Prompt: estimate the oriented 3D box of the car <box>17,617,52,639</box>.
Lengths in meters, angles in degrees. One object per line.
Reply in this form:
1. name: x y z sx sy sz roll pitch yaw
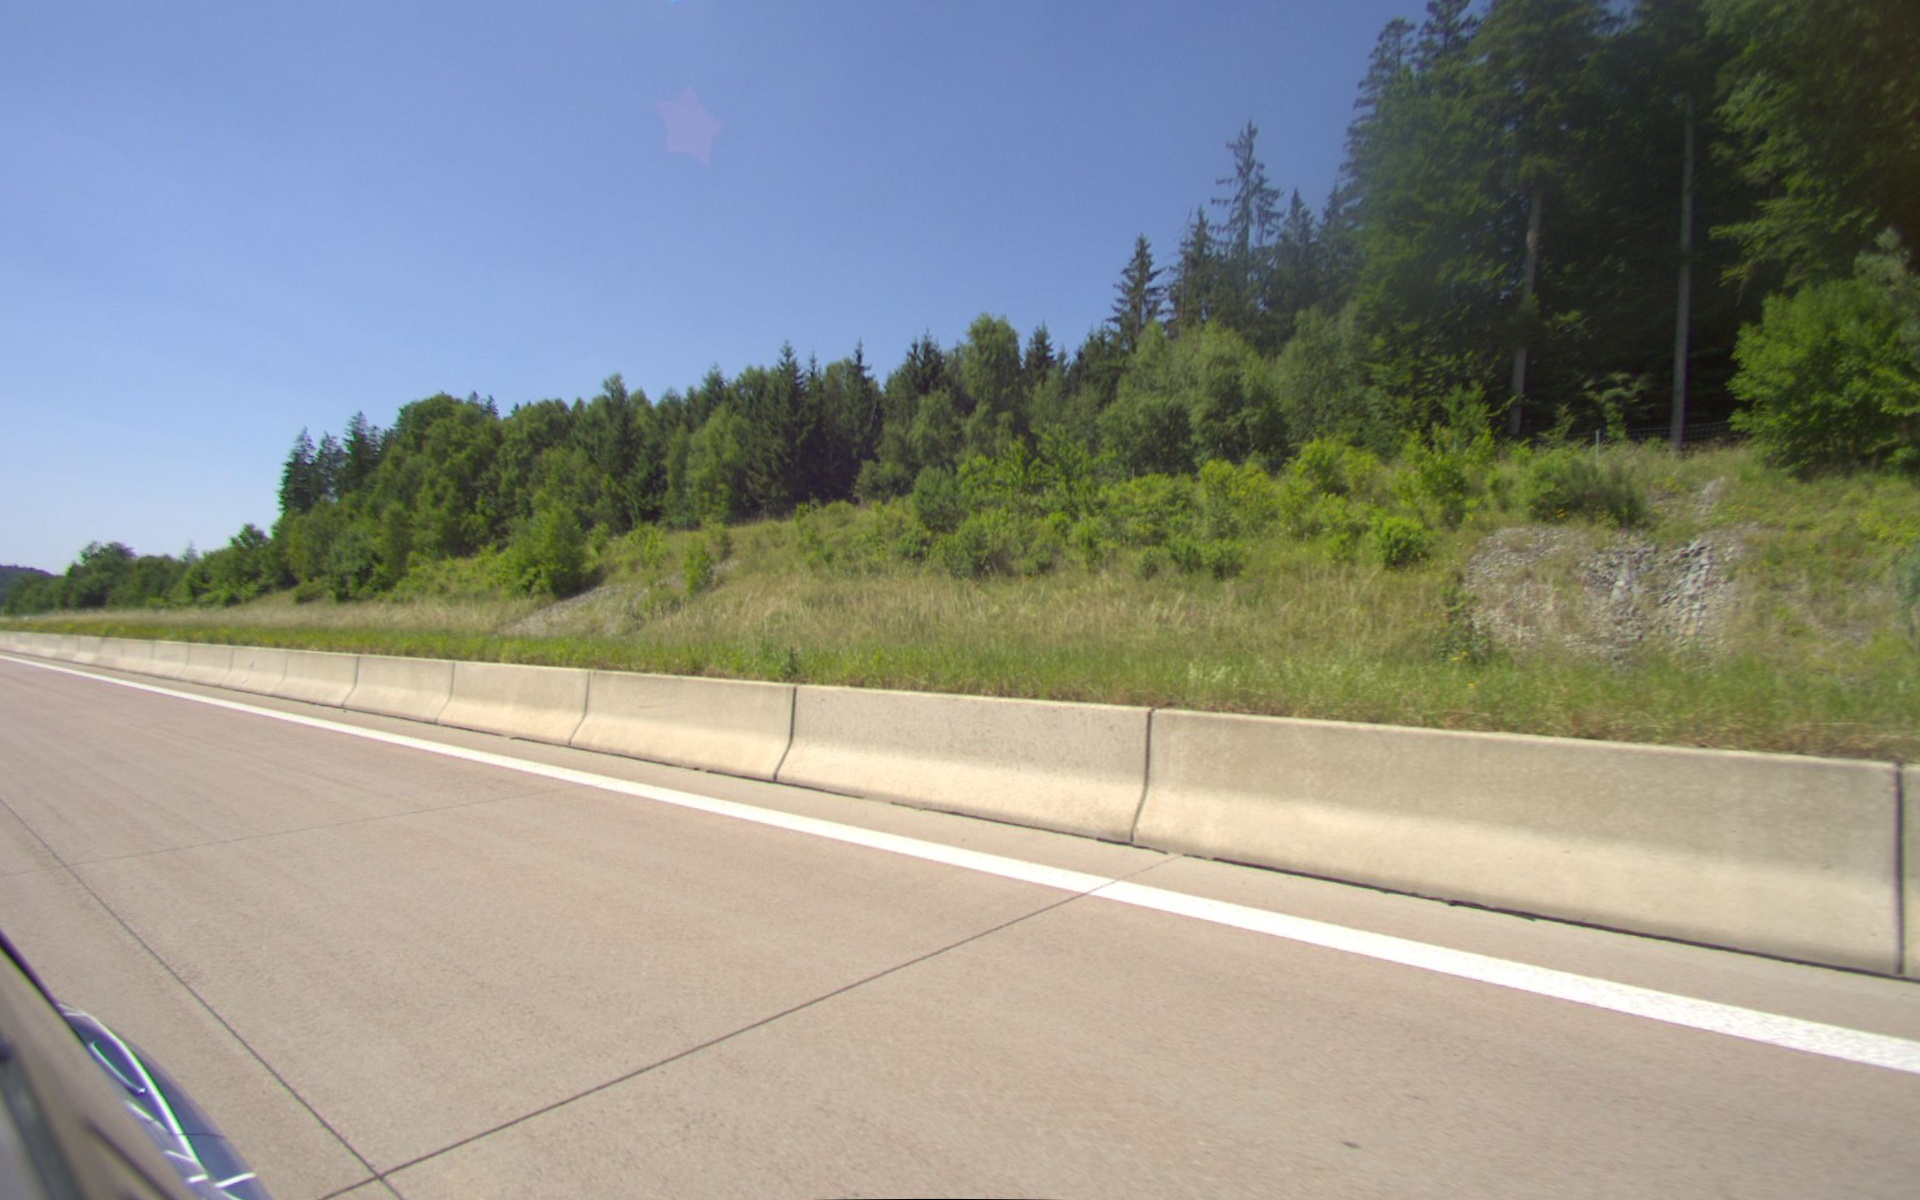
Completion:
1. car: -89.456 2.685 97.777 4.658 2.080 1.872 -2 -1 39
